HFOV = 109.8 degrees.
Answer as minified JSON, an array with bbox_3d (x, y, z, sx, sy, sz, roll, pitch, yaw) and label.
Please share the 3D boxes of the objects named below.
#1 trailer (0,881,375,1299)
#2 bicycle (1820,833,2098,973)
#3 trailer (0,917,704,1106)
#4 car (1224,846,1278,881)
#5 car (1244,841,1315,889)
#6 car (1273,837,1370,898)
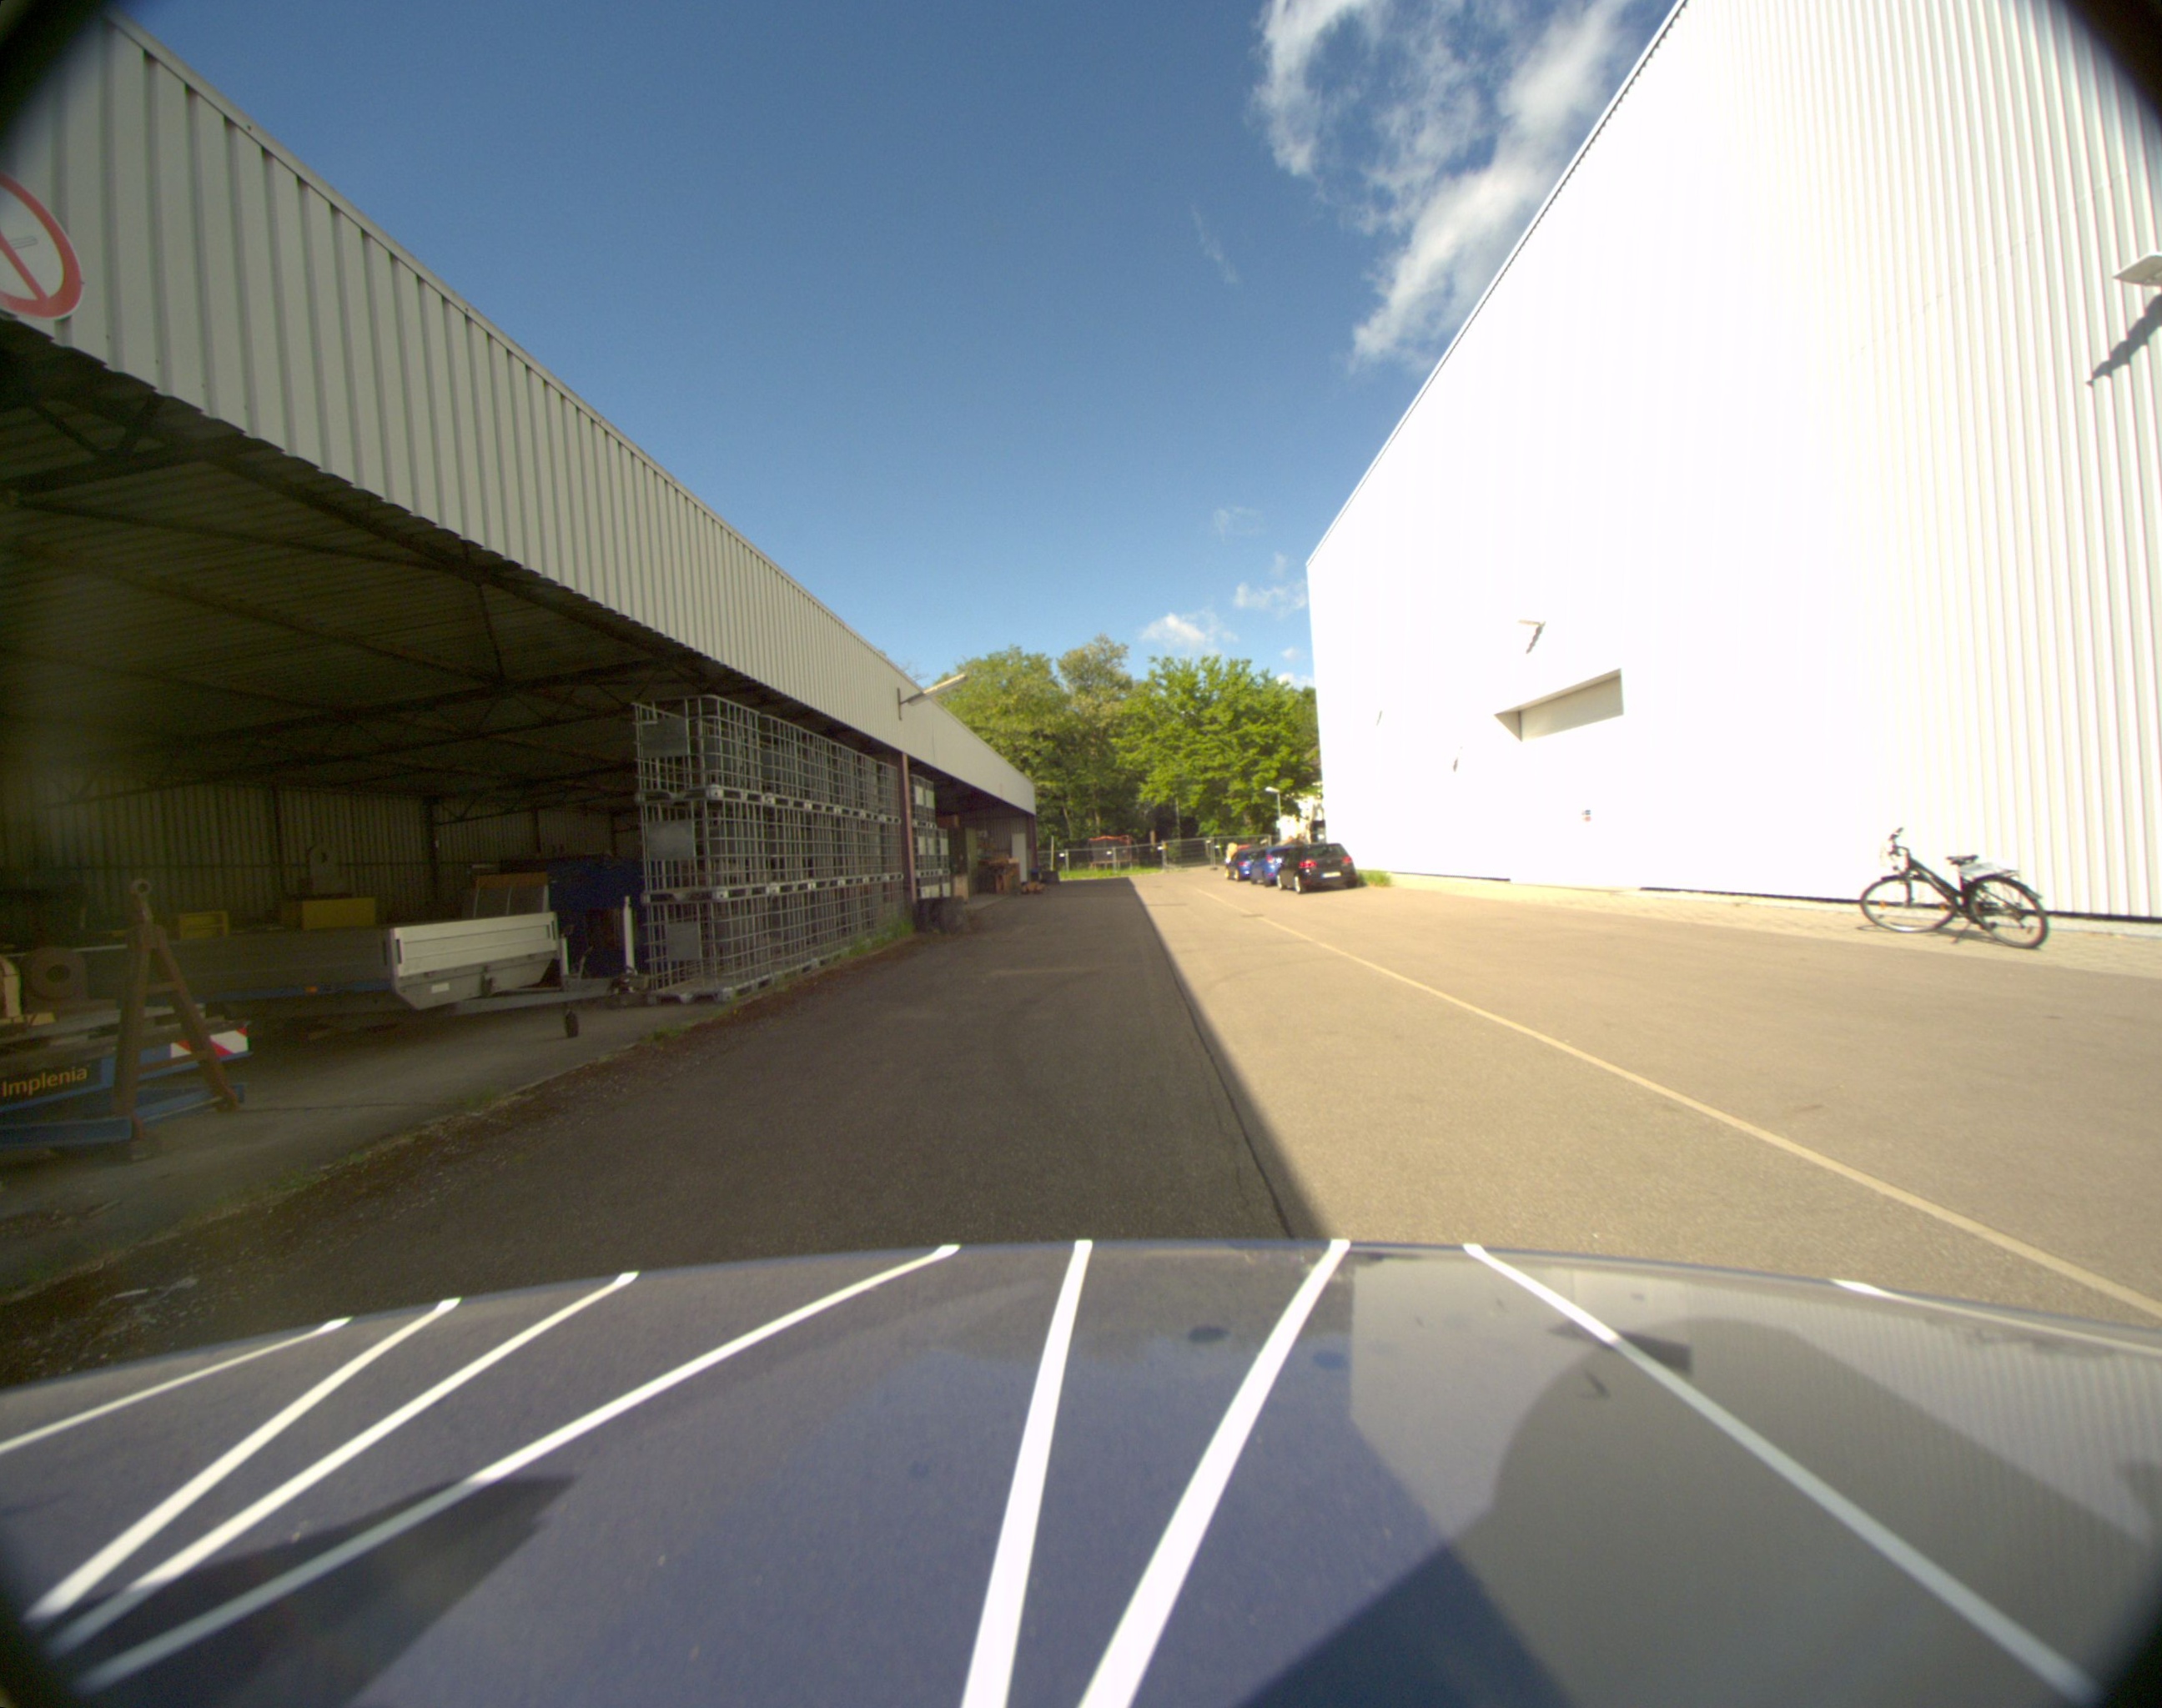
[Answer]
[{"bbox_3d":[-6.803,1.102,3.660,4.879,1.619,2.029,-3,0,2],"label":"trailer"},{"bbox_3d":[8.668,0.427,7.664,0.909,1.136,1.901,-7,0,18],"label":"bicycle"},{"bbox_3d":[-6.919,1.365,7.019,5.836,1.113,2.029,-3,0,2],"label":"trailer"},{"bbox_3d":[7.615,0.394,34.414,1.789,1.431,4.001,-3,0,4],"label":"car"},{"bbox_3d":[7.465,0.375,28.913,1.789,1.513,4.001,-7,0,4],"label":"car"},{"bbox_3d":[7.353,0.370,23.661,1.895,1.513,4.001,-7,0,4],"label":"car"}]
